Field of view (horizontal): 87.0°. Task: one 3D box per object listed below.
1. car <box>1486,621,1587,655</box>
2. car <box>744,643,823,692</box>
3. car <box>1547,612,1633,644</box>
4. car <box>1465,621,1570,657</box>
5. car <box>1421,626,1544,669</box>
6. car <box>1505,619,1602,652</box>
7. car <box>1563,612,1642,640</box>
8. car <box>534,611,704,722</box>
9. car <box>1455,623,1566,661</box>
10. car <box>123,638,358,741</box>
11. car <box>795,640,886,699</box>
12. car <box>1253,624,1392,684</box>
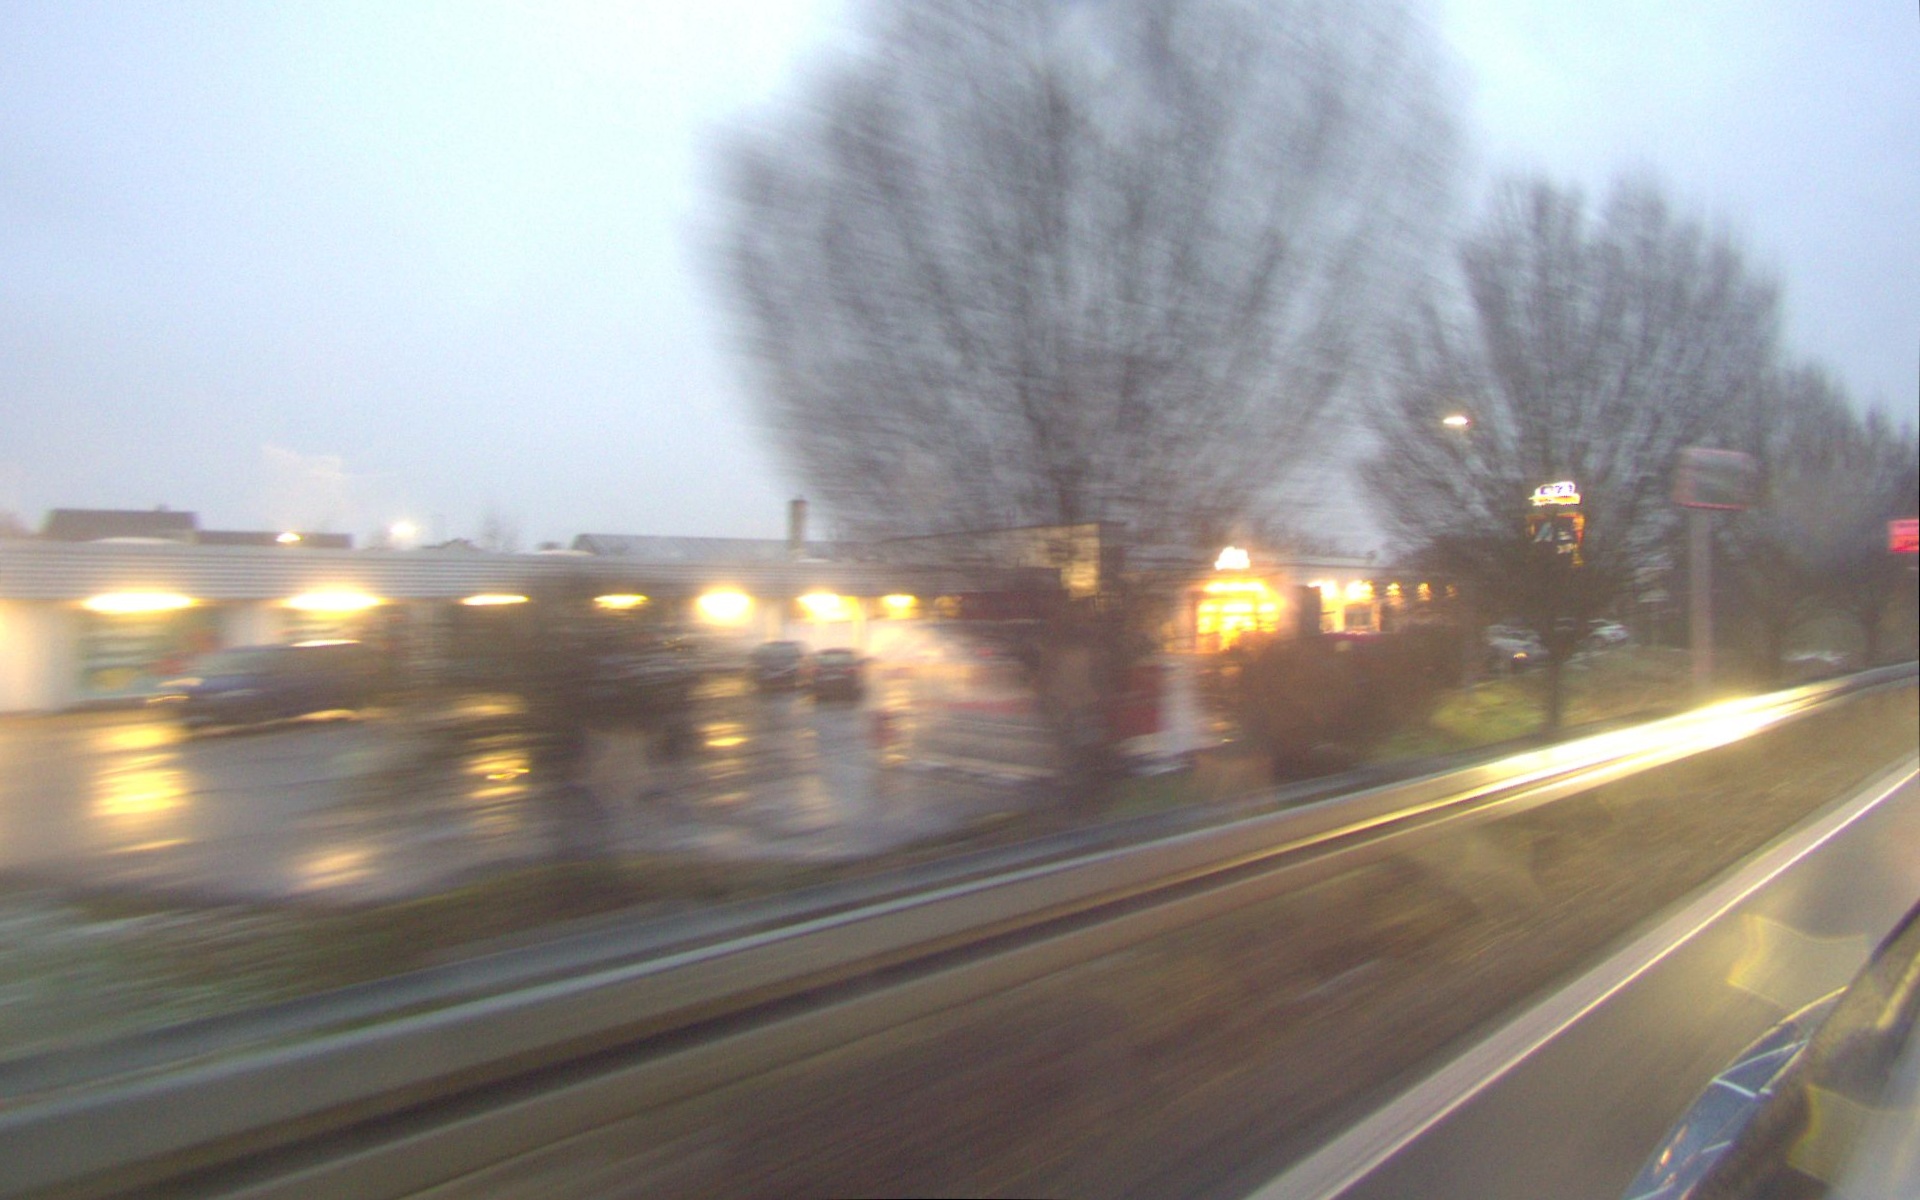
[{"bbox_3d":[27.471,1.777,48.284,3.996,1.430,1.690,1,1,40],"label":"car"},{"bbox_3d":[-5.855,2.216,33.958,1.504,1.355,3.578,0,1,10],"label":"car"},{"bbox_3d":[36.305,1.585,58.386,3.996,1.617,1.780,1,1,40],"label":"car"},{"bbox_3d":[25.581,1.761,46.478,3.996,1.430,1.690,1,1,40],"label":"car"},{"bbox_3d":[20.299,1.823,39.394,3.994,1.430,1.690,1,1,40],"label":"car"},{"bbox_3d":[29.601,1.759,50.543,3.996,1.430,1.690,1,1,40],"label":"car"},{"bbox_3d":[39.948,1.607,62.968,3.996,1.551,1.690,1,1,40],"label":"car"},{"bbox_3d":[-8.720,1.591,26.496,2.242,2.470,5.231,0,1,6],"label":"car"},{"bbox_3d":[23.769,1.774,43.734,3.994,1.450,1.690,1,1,40],"label":"car"},{"bbox_3d":[-16.499,1.965,23.598,1.853,1.983,4.956,-1,-1,2],"label":"car"},{"bbox_3d":[-3.532,2.031,30.578,1.687,1.430,4.003,0,1,10],"label":"car"},{"bbox_3d":[11.766,1.693,33.047,1.684,1.662,4.011,0,1,-38],"label":"car"}]
